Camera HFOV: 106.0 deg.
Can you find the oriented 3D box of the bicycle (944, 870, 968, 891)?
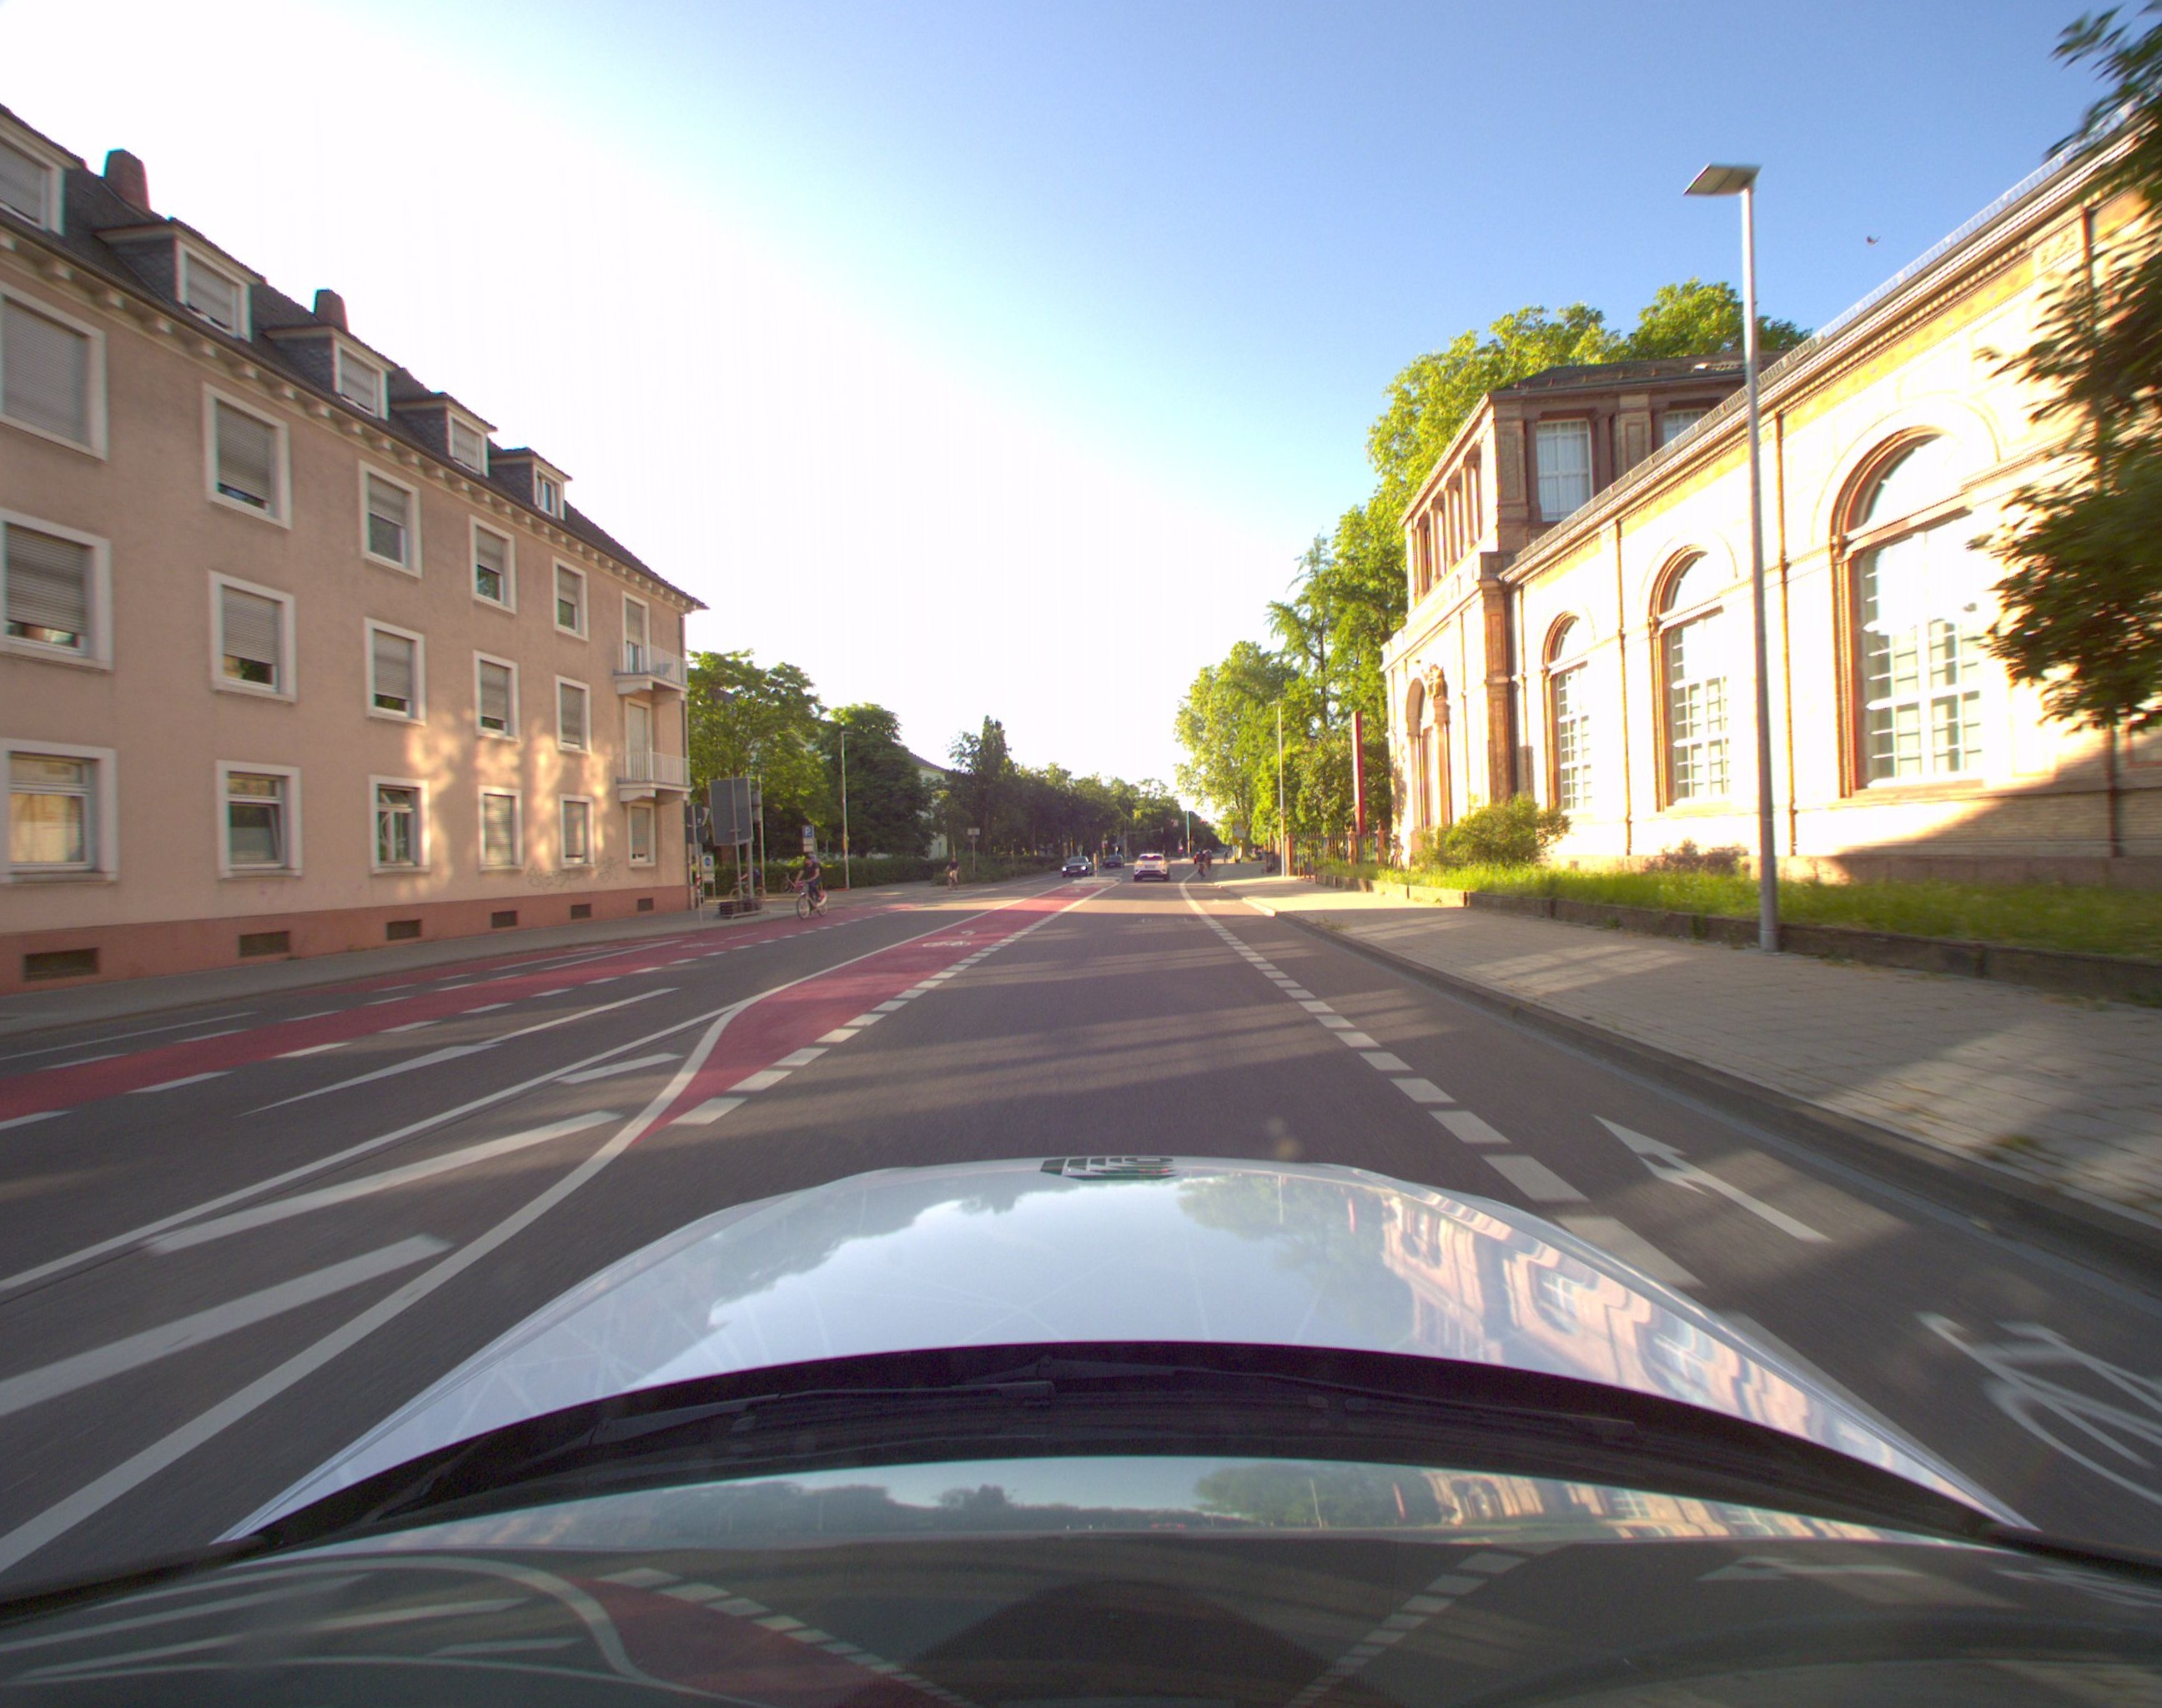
[{"bbox_3d":[-6.290,1.321,41.120,0.648,0.995,2.112,-3,0,5],"label":"bicycle"}]

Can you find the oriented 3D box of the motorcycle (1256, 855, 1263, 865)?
[{"bbox_3d":[20.954,0.693,95.723,0.658,1.167,2.334,-5,-1,11],"label":"motorcycle"}]

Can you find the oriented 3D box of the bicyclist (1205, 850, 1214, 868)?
[{"bbox_3d":[10.827,0.433,68.562,0.742,1.537,0.972,-1,-1,10],"label":"bicyclist"}]

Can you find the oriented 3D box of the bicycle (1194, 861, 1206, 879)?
[{"bbox_3d":[6.881,0.910,46.900,0.639,1.025,2.218,0,0,9],"label":"bicycle"}]

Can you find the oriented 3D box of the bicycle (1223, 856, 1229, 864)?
[{"bbox_3d":[18.493,0.771,103.738,0.748,1.026,1.875,-1,-1,11],"label":"bicycle"}]

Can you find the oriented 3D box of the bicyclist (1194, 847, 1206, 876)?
[{"bbox_3d":[6.855,0.415,46.860,0.632,1.614,1.287,-1,0,9],"label":"bicyclist"}]

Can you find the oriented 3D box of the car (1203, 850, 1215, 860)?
[{"bbox_3d":[21.373,0.192,136.167,1.726,1.546,4.012,-2,0,11],"label":"car"}]

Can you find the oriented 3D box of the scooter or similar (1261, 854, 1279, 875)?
[{"bbox_3d":[11.682,0.642,50.471,0.547,1.243,1.554,-3,-1,-7],"label":"scooter or similar"}]

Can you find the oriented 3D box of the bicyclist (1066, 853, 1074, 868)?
[{"bbox_3d":[-1.125,0.690,83.946,0.625,1.522,0.726,-5,-1,8],"label":"bicyclist"}]

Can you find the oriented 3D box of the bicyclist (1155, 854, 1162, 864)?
[{"bbox_3d":[14.385,0.867,150.259,1.085,1.754,1.101,-3,-1,13],"label":"bicyclist"}]

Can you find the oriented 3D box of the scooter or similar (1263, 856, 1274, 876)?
[{"bbox_3d":[11.186,0.700,48.614,0.478,1.122,1.338,-3,-1,7],"label":"scooter or similar"}]

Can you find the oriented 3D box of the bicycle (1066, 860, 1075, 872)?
[{"bbox_3d":[-1.086,1.208,83.858,0.593,1.120,2.031,-5,-1,8],"label":"bicycle"}]

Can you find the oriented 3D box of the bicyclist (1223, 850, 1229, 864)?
[{"bbox_3d":[18.506,0.413,103.821,0.745,1.750,0.845,-1,-1,10],"label":"bicyclist"}]

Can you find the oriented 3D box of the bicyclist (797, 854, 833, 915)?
[{"bbox_3d":[-7.802,0.888,23.879,0.632,1.710,0.739,-5,-1,5],"label":"bicyclist"}]

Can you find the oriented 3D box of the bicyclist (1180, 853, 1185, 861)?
[{"bbox_3d":[22.562,0.749,181.634,0.949,1.705,1.237,-3,-1,12],"label":"bicyclist"}]

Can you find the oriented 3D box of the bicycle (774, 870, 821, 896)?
[{"bbox_3d":[-14.991,1.531,43.099,2.306,1.230,0.561,-2,0,9],"label":"bicycle"}]

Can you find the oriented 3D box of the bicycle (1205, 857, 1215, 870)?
[{"bbox_3d":[10.815,0.808,68.439,0.748,1.026,1.875,-1,-1,11],"label":"bicycle"}]

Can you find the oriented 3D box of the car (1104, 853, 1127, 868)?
[{"bbox_3d":[3.658,0.713,85.423,1.747,1.459,4.012,-2,0,10],"label":"car"}]

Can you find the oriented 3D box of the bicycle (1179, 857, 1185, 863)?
[{"bbox_3d":[22.594,1.292,181.674,0.957,1.181,2.961,-3,-1,13],"label":"bicycle"}]

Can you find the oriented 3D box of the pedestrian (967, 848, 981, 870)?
[{"bbox_3d":[-8.994,0.428,68.332,0.851,1.851,1.004,-3,-1,9],"label":"pedestrian"}]

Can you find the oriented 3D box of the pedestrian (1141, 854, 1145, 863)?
[{"bbox_3d":[13.392,0.924,176.245,0.647,1.888,0.665,-3,-1,13],"label":"pedestrian"}]

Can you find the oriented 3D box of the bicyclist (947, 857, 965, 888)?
[{"bbox_3d":[-6.318,0.938,41.161,0.653,1.485,0.666,-5,-1,4],"label":"bicyclist"}]

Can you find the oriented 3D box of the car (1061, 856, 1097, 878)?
[{"bbox_3d":[-0.092,0.932,58.581,1.801,1.419,4.566,-2,0,9],"label":"car"}]

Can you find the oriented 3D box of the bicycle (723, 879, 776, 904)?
[{"bbox_3d":[-15.377,1.718,37.846,2.099,0.995,0.738,-4,-1,-6],"label":"bicycle"}]

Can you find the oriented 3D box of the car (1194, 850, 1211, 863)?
[{"bbox_3d":[15.310,0.311,102.768,1.917,1.533,4.012,-3,-1,11],"label":"car"}]

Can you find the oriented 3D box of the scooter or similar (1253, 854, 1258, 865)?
[{"bbox_3d":[21.955,0.662,102.449,0.563,1.382,1.861,-3,-1,9],"label":"scooter or similar"}]

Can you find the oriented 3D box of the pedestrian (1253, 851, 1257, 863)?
[{"bbox_3d":[28.553,0.472,133.846,0.478,1.792,0.434,-5,2,17],"label":"pedestrian"}]

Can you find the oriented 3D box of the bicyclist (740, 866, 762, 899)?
[{"bbox_3d":[-15.333,1.324,37.856,0.662,1.485,0.738,-4,-1,-6],"label":"bicyclist"}]

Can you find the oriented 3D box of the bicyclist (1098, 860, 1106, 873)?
[{"bbox_3d":[2.351,1.433,92.485,0.642,1.418,0.973,-5,0,8],"label":"bicyclist"}]

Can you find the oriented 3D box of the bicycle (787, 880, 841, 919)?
[{"bbox_3d":[-7.762,1.298,23.775,0.643,0.995,2.112,-3,0,5],"label":"bicycle"}]

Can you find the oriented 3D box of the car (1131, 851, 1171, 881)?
[{"bbox_3d":[3.866,0.633,44.638,1.983,1.453,4.008,-3,-1,7],"label":"car"}]

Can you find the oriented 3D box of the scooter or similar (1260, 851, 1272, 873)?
[{"bbox_3d":[10.805,0.480,47.549,0.296,1.240,1.159,-3,-1,-6],"label":"scooter or similar"}]
